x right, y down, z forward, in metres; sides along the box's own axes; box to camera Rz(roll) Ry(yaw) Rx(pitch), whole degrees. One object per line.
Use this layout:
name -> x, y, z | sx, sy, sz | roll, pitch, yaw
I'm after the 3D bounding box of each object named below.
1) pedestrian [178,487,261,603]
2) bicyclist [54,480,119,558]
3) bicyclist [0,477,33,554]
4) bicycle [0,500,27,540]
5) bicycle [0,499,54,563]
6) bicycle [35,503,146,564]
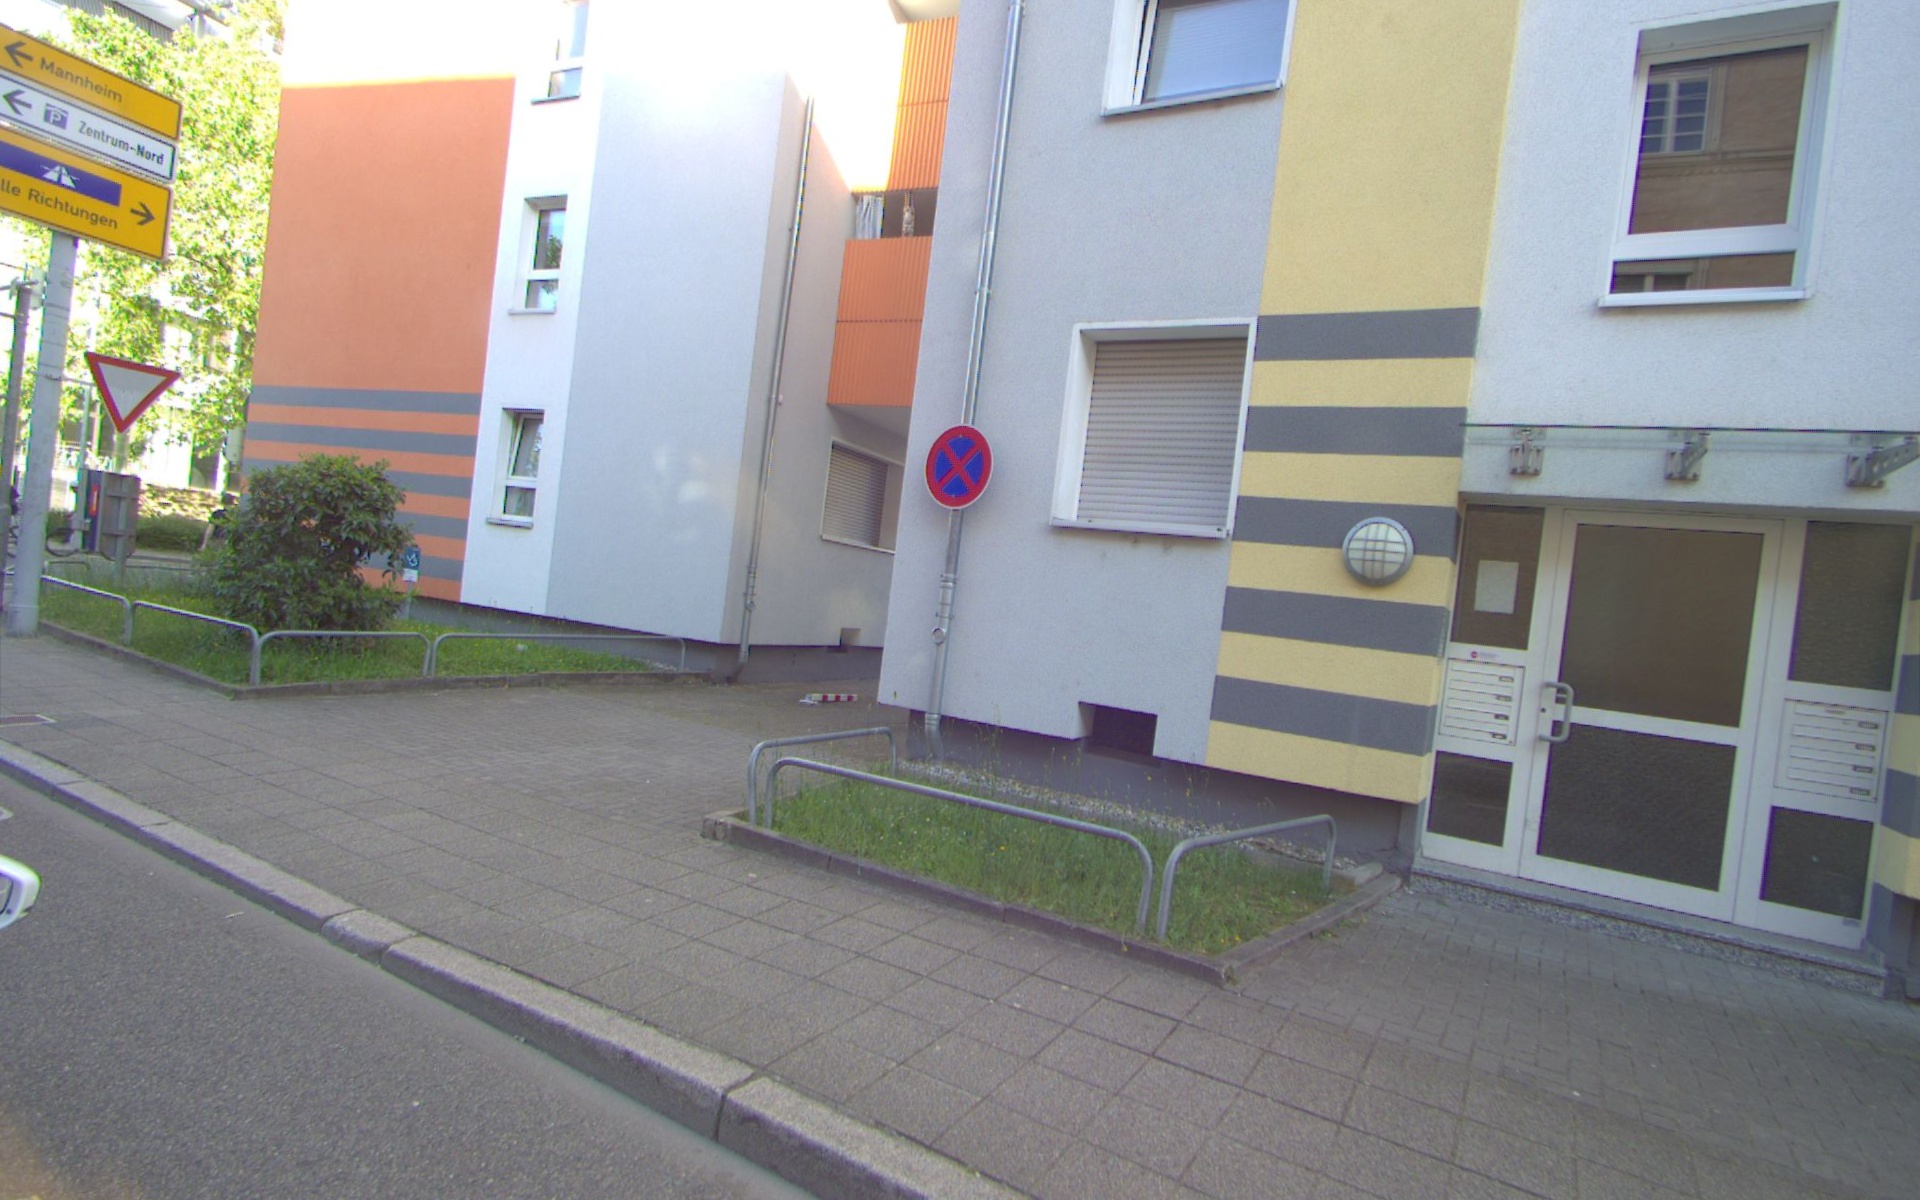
pedestrian -> -12.543, -0.910, 17.072 | 0.690, 1.831, 0.719 | 7, -1, -9
bicyclist -> -20.083, -1.861, 23.138 | 0.616, 1.649, 0.825 | 7, 1, 25
bicyclist -> -19.114, -1.709, 19.827 | 0.616, 1.464, 0.974 | 7, 1, 22
bicycle -> -26.395, -2.245, 27.394 | 1.409, 1.021, 0.379 | 7, 1, -11
bicycle -> -19.162, -1.418, 19.824 | 0.616, 1.166, 1.783 | 7, 0, 22
bicycle -> -20.069, -1.514, 23.264 | 0.616, 1.166, 1.783 | 7, 0, 24
